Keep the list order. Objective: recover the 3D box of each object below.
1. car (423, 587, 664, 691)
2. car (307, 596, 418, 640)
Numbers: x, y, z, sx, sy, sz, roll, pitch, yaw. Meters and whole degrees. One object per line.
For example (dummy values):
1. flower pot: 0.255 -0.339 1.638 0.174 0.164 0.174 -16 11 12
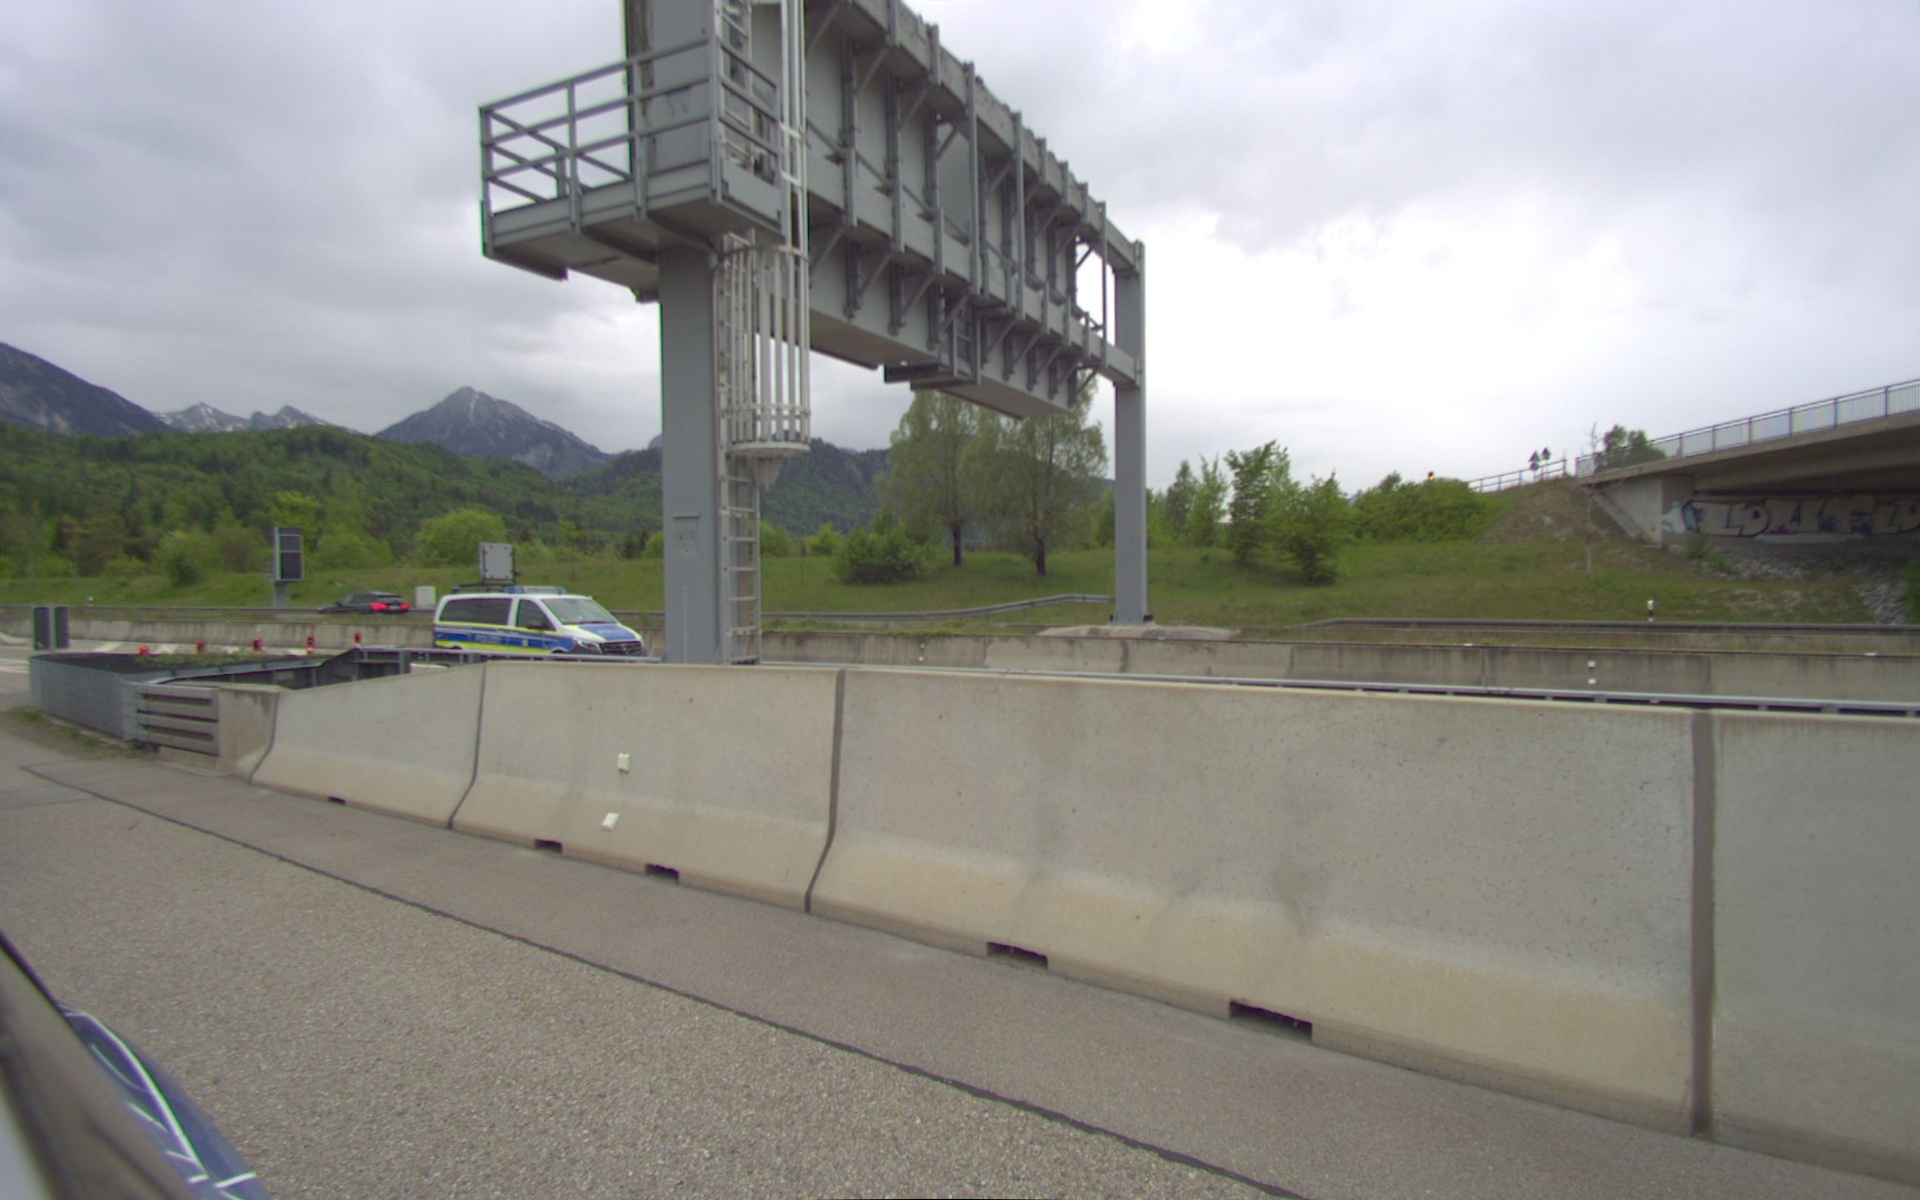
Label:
1. car: -8.959 0.776 21.713 5.028 2.029 2.085 0 -1 28
2. car: -27.792 0.809 47.071 5.081 1.970 1.974 0 -1 26
